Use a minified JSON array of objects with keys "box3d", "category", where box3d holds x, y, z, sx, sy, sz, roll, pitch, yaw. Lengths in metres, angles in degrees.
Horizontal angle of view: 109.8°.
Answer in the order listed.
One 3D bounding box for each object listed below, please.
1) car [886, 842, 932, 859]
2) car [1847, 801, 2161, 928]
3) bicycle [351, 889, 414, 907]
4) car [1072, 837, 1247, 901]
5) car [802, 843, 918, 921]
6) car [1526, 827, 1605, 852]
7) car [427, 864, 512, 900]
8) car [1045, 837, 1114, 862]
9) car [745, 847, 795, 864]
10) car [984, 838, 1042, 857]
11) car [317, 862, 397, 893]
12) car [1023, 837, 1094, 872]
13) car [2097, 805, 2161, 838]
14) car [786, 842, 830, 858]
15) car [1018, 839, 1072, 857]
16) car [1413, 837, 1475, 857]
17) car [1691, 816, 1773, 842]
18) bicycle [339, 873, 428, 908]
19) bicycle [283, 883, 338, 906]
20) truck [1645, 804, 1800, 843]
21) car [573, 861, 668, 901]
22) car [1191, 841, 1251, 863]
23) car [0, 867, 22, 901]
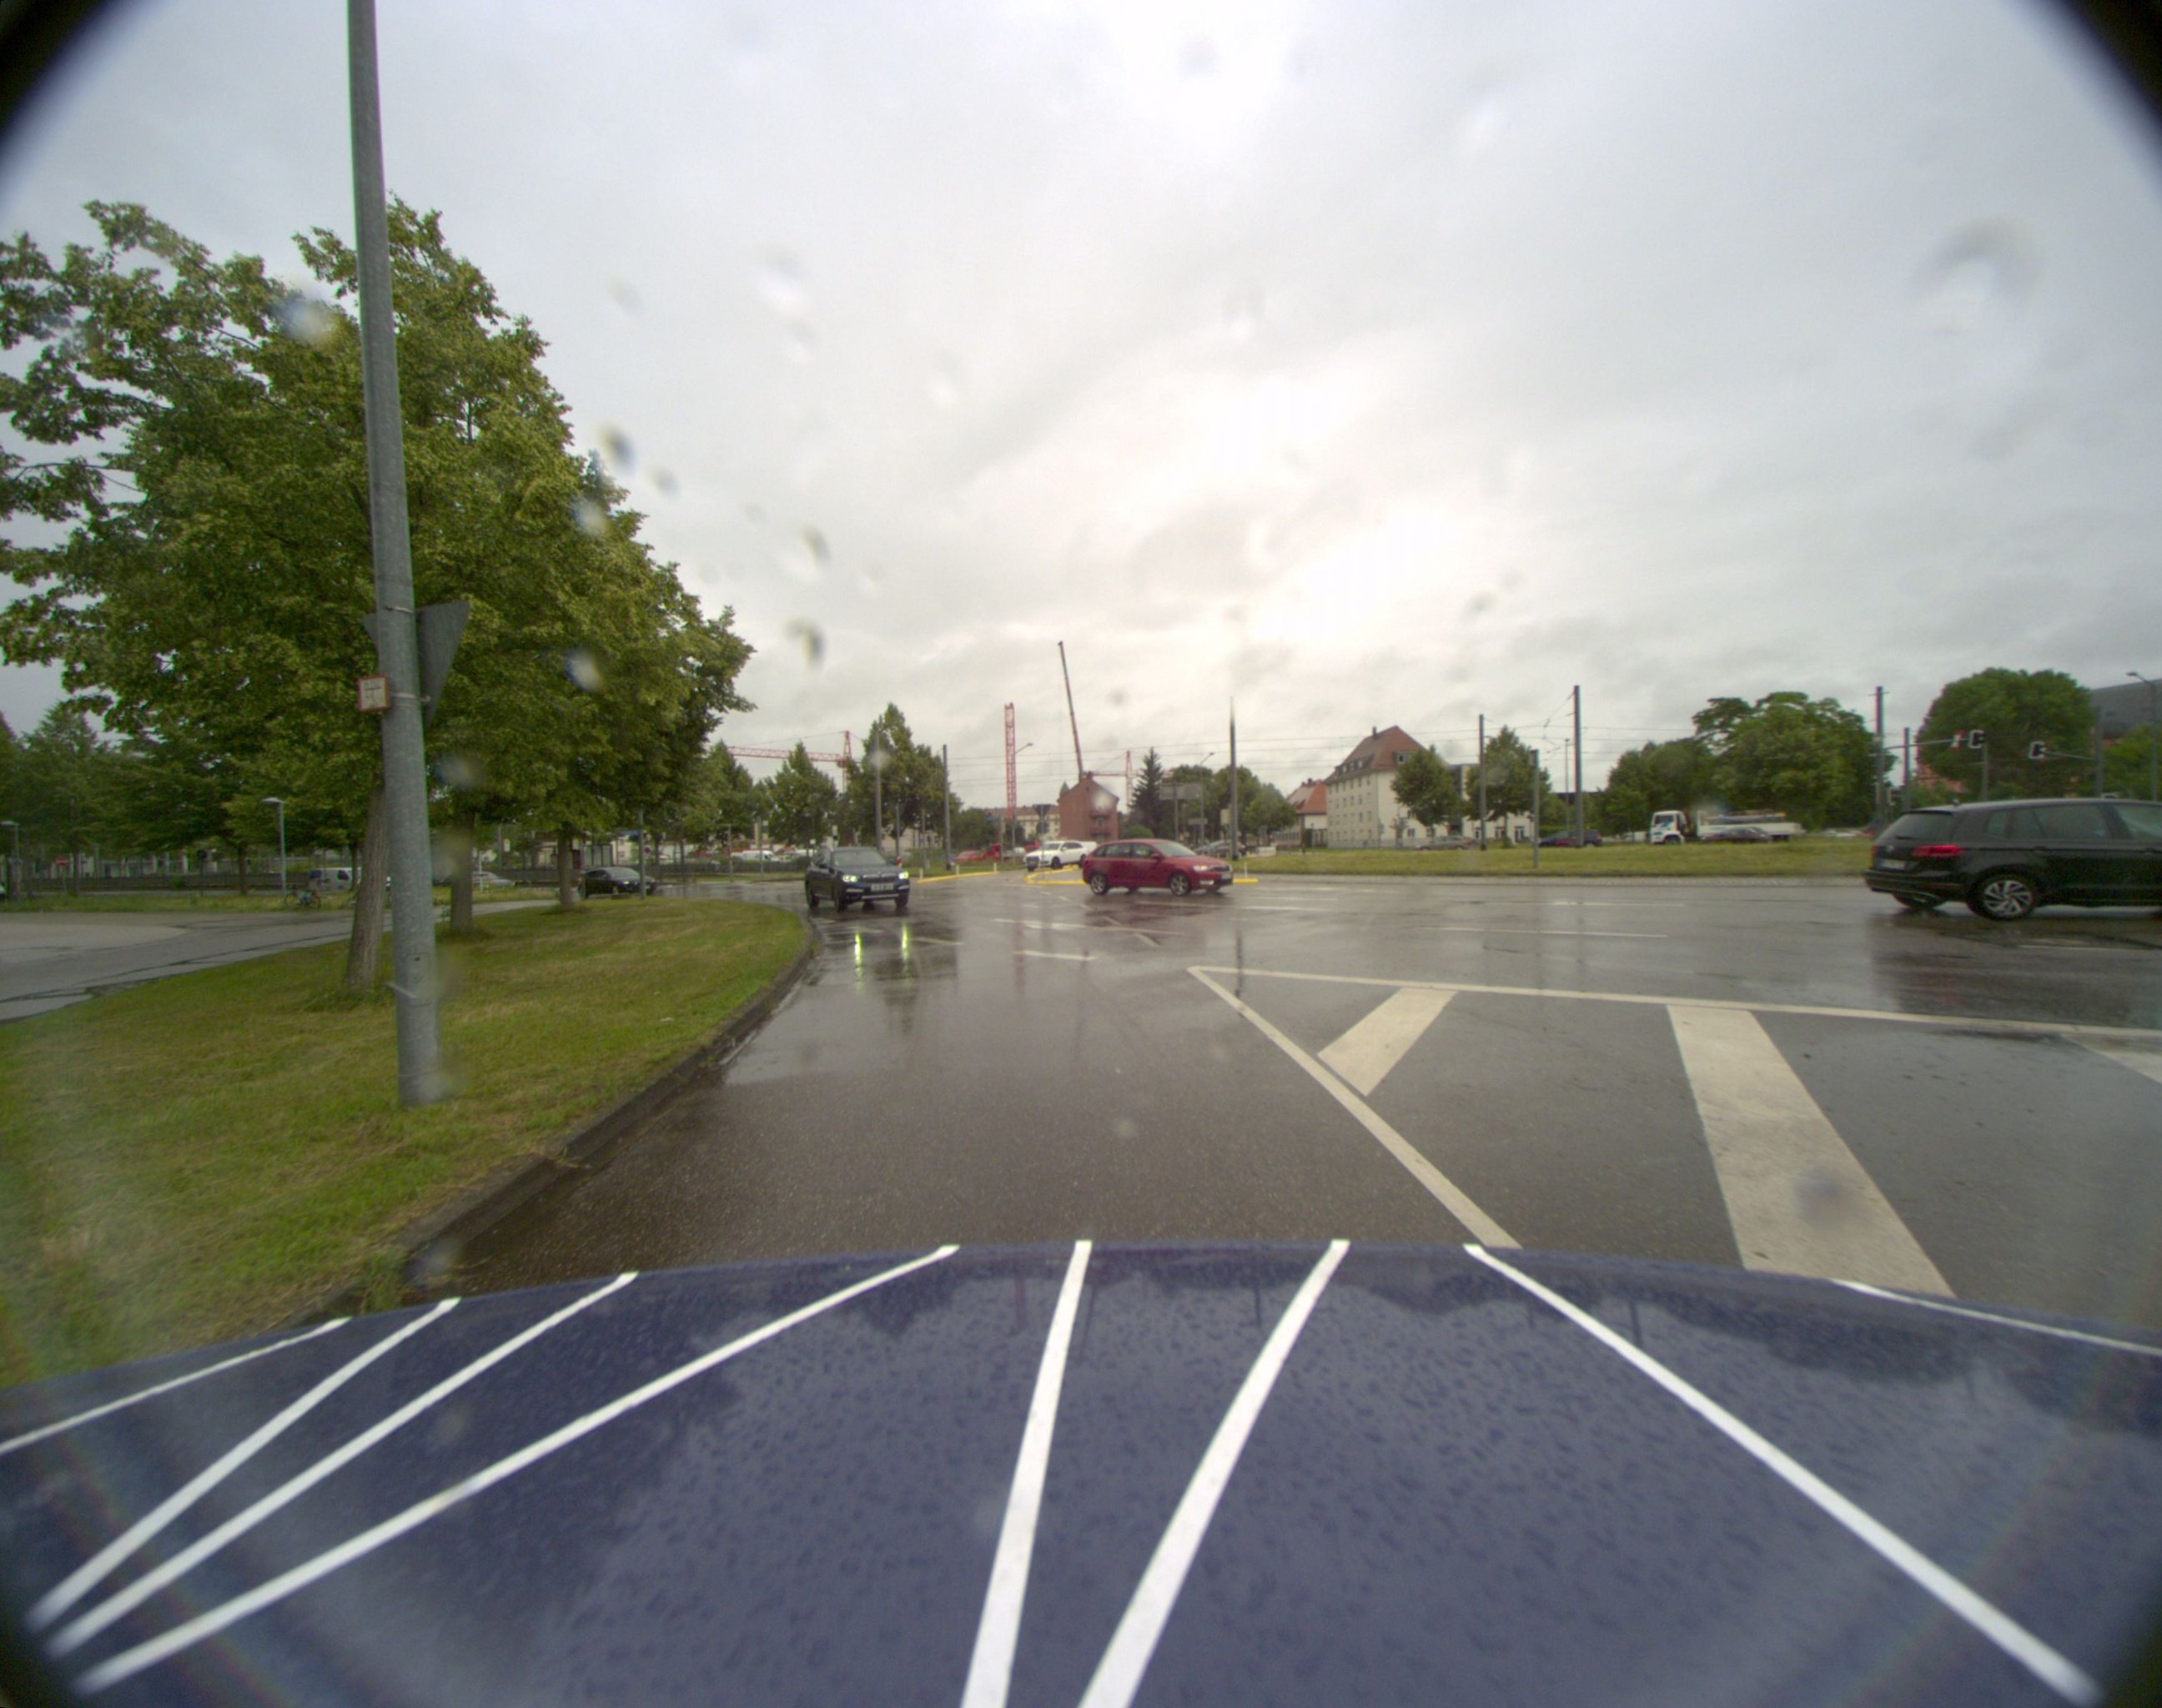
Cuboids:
[{"box3d":[-27.996,-0.534,123.558,6.827,2.462,2.358,-2,1,8],"category":"car"},{"box3d":[13.431,0.110,10.017,4.322,1.509,1.791,-2,2,23],"category":"car"},{"box3d":[-27.828,1.750,30.288,1.805,0.555,0.320,-3,2,-27],"category":"bicycle"},{"box3d":[2.010,0.385,20.181,4.303,1.451,1.792,-2,2,41],"category":"car"},{"box3d":[-6.182,0.651,20.885,1.920,1.737,4.371,-4,4,-31],"category":"car"},{"box3d":[35.970,-1.065,56.567,4.853,1.735,1.780,0,4,31],"category":"car"},{"box3d":[-32.972,1.482,40.948,4.371,1.737,1.920,-1,4,28],"category":"car"},{"box3d":[-0.164,-0.378,58.943,5.026,1.635,1.828,-3,4,-11],"category":"car"},{"box3d":[-50.601,0.286,123.463,7.623,2.463,2.358,-1,4,18],"category":"car"},{"box3d":[-7.912,-0.790,88.214,6.410,2.003,2.360,0,4,32],"category":"car"},{"box3d":[-43.078,1.393,45.201,3.991,1.639,1.791,-1,4,22],"category":"car"},{"box3d":[-1.255,-0.029,45.486,1.773,1.735,4.873,0,4,32],"category":"car"},{"box3d":[57.065,-1.714,39.958,1.786,1.639,4.395,-2,3,11],"category":"car"},{"box3d":[-46.327,-0.733,128.993,6.822,2.463,2.503,-1,4,18],"category":"car"},{"box3d":[-4.445,-0.754,93.908,6.410,2.002,2.361,-1,1,32],"category":"car"},{"box3d":[30.696,-0.616,64.308,4.540,1.484,1.612,-1,4,17],"category":"car"},{"box3d":[44.063,-1.664,51.507,1.792,1.639,3.988,-5,4,-41],"category":"car"},{"box3d":[-27.935,1.449,30.482,2.528,1.182,0.552,-3,2,-27],"category":"bicycle"},{"box3d":[-30.844,1.626,30.429,2.159,0.842,0.637,-2,2,19],"category":"bicycle"},{"box3d":[48.316,-2.270,57.580,2.003,2.697,8.771,-6,5,-42],"category":"truck"},{"box3d":[-22.409,1.267,36.948,4.371,1.737,1.920,-1,4,30],"category":"car"},{"box3d":[11.496,-0.163,62.507,4.551,1.484,1.609,-3,4,-14],"category":"car"},{"box3d":[-73.527,2.079,50.643,5.085,2.190,2.088,-1,4,21],"category":"car"}]
